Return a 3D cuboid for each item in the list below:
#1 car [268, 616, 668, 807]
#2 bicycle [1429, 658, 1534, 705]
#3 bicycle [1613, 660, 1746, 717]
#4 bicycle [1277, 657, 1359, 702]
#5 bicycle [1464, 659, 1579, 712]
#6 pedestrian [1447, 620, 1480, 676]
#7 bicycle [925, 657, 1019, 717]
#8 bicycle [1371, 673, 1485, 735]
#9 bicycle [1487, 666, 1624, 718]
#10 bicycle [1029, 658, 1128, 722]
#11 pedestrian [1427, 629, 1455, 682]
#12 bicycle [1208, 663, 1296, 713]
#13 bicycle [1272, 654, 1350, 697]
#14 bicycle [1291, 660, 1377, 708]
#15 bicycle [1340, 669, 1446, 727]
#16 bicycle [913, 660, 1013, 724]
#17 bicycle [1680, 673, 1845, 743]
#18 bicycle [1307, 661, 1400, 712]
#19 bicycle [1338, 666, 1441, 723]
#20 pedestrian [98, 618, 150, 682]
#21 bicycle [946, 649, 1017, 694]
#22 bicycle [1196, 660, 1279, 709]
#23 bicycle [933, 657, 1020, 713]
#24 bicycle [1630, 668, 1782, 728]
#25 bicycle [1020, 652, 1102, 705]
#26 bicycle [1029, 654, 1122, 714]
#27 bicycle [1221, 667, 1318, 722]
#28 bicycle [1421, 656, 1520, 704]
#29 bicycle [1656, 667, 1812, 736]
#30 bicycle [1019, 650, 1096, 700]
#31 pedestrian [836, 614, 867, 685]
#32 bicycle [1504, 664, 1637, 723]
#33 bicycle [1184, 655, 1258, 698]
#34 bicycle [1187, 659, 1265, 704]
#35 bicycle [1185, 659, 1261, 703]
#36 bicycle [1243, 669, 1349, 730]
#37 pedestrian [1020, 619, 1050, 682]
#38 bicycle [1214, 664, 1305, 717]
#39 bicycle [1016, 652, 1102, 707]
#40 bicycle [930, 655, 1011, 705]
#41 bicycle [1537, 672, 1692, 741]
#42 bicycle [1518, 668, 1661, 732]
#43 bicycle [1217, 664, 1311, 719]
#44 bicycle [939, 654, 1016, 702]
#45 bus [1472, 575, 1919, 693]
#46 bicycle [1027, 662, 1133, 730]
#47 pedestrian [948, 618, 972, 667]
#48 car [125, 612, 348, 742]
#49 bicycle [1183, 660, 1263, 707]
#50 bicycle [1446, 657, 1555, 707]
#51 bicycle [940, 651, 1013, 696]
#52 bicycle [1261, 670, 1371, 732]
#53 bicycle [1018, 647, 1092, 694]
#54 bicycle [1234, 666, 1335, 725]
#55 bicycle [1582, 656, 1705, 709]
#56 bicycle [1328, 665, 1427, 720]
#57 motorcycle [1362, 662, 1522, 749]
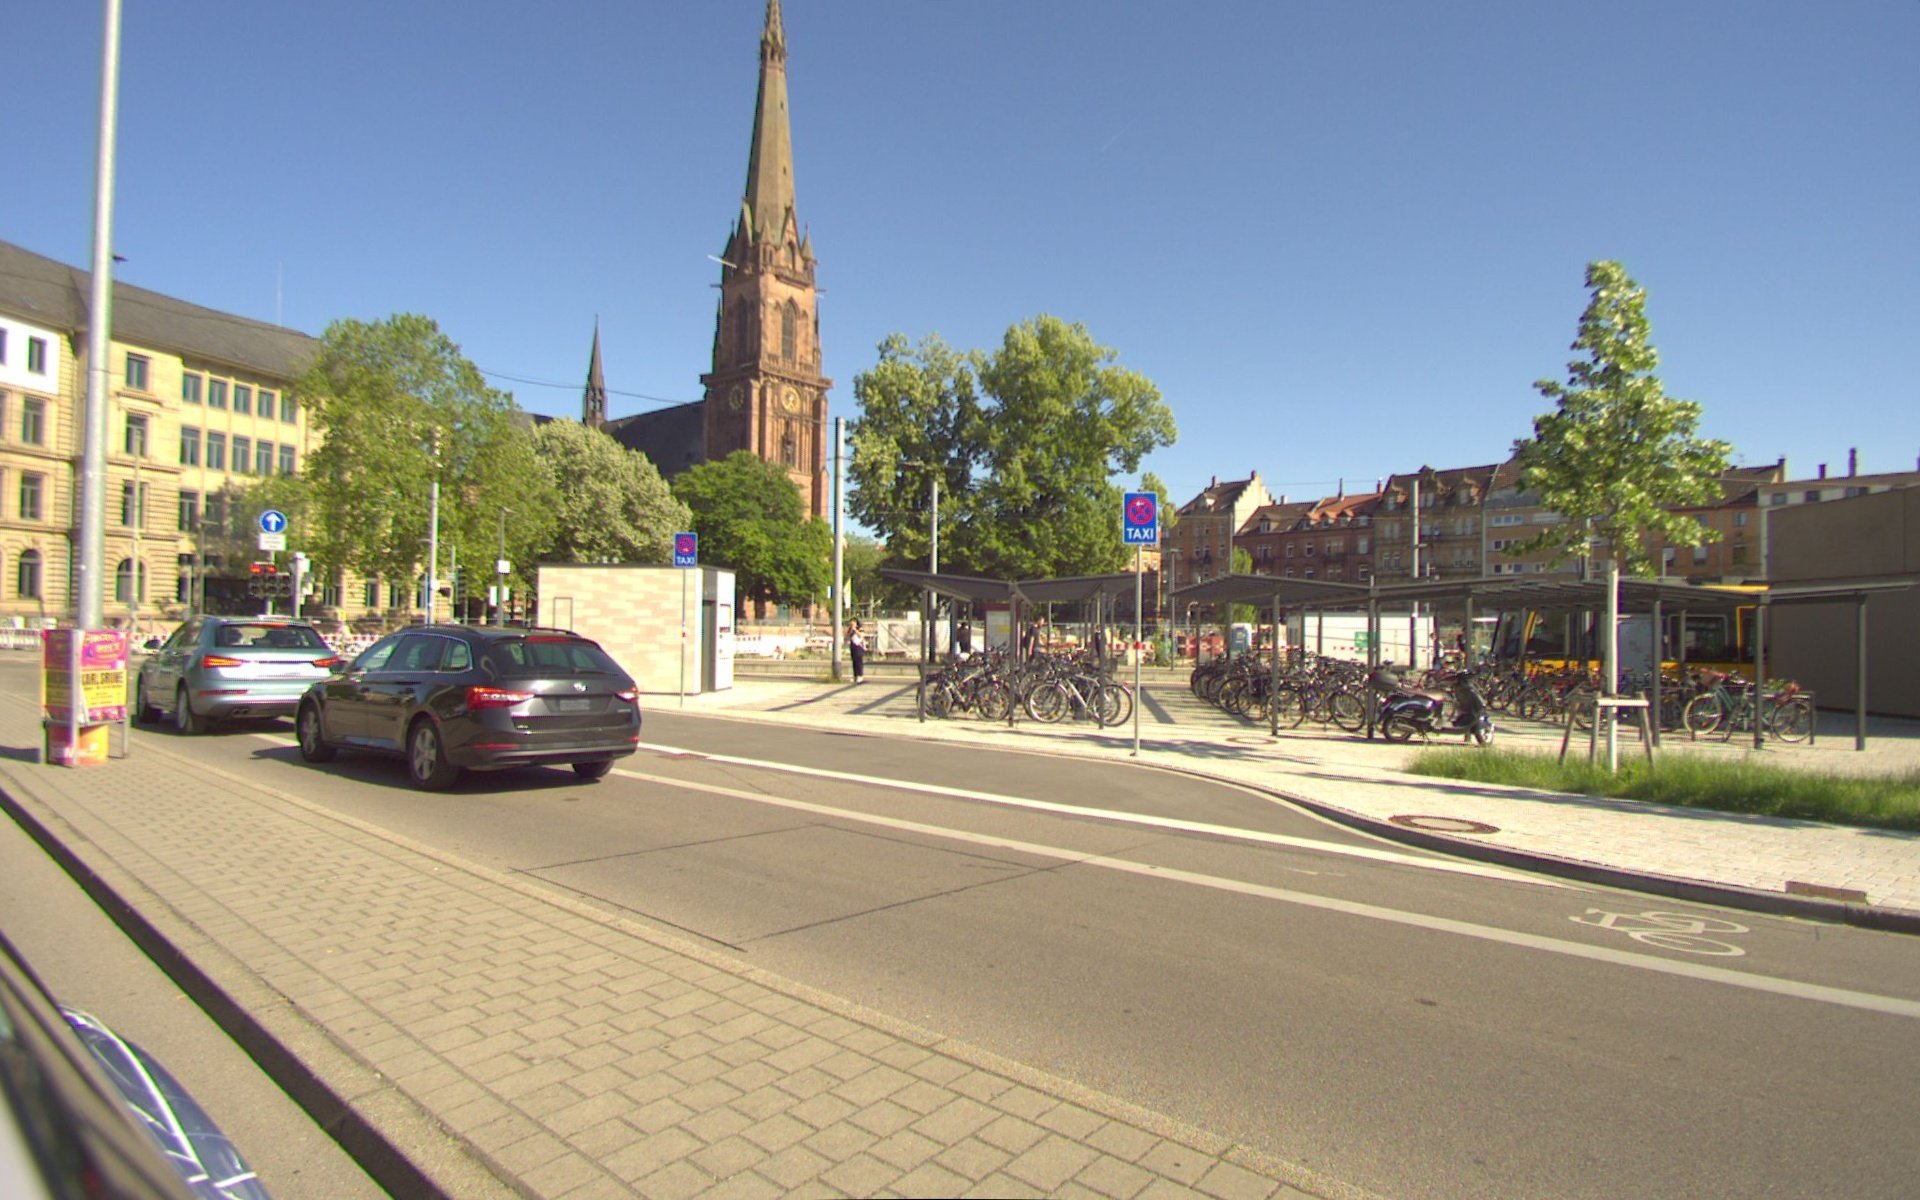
[{"bbox_3d":[-5.157,0.981,10.278,4.780,1.516,1.795,-1,-4,40],"label":"car"},{"bbox_3d":[12.028,1.879,23.373,2.048,1.045,0.533,-1,-4,8],"label":"bicycle"},{"bbox_3d":[13.849,1.699,19.524,2.048,1.045,0.533,-1,0,8],"label":"bicycle"},{"bbox_3d":[8.070,1.788,22.837,1.661,0.980,0.406,-1,0,3],"label":"bicycle"},{"bbox_3d":[11.773,1.795,21.264,2.048,1.045,0.533,-1,2,8],"label":"bicycle"},{"bbox_3d":[17.617,1.669,35.428,0.793,1.931,0.769,0,-2,4],"label":"pedestrian"},{"bbox_3d":[0.228,1.596,18.600,1.663,1.006,0.406,2,0,8],"label":"bicycle"},{"bbox_3d":[7.764,1.723,16.820,1.661,0.980,0.406,-1,0,3],"label":"bicycle"},{"bbox_3d":[11.611,1.798,19.789,2.208,0.951,0.685,-1,0,7],"label":"bicycle"},{"bbox_3d":[2.136,1.616,18.336,1.753,1.083,0.406,1,0,6],"label":"bicycle"},{"bbox_3d":[18.485,2.120,38.920,0.793,2.029,0.535,0,-2,4],"label":"pedestrian"},{"bbox_3d":[5.922,1.784,20.563,1.661,0.980,0.406,1,-5,3],"label":"bicycle"},{"bbox_3d":[8.288,1.785,23.914,1.661,0.980,0.406,-1,0,3],"label":"bicycle"},{"bbox_3d":[7.985,1.789,21.622,1.661,0.980,0.406,-1,0,3],"label":"bicycle"},{"bbox_3d":[7.640,1.724,17.891,1.661,0.980,0.406,-1,0,3],"label":"bicycle"},{"bbox_3d":[0.064,1.573,17.382,1.663,1.006,0.406,2,0,8],"label":"bicycle"},{"bbox_3d":[12.764,1.714,16.137,2.048,1.045,0.533,-1,0,8],"label":"bicycle"},{"bbox_3d":[7.854,1.730,20.228,1.661,0.980,0.406,-1,0,3],"label":"bicycle"},{"bbox_3d":[7.820,1.722,18.459,1.661,0.980,0.406,-1,0,3],"label":"bicycle"},{"bbox_3d":[-22.459,1.329,27.188,0.629,1.680,0.921,-1,-2,35],"label":"pedestrian"},{"bbox_3d":[0.514,1.702,24.186,1.663,1.006,0.406,0,0,8],"label":"bicycle"},{"bbox_3d":[5.922,1.805,21.639,1.661,0.980,0.406,1,-5,3],"label":"bicycle"},{"bbox_3d":[0.325,1.663,19.944,1.663,1.006,0.406,2,0,8],"label":"bicycle"},{"bbox_3d":[13.476,1.763,18.329,2.117,1.005,0.690,-1,0,7],"label":"bicycle"},{"bbox_3d":[2.190,1.694,22.028,1.755,1.083,0.406,1,0,6],"label":"bicycle"},{"bbox_3d":[2.232,1.620,19.582,1.755,1.083,0.406,1,0,6],"label":"bicycle"},{"bbox_3d":[5.725,1.749,18.767,1.661,0.980,0.406,-1,0,3],"label":"bicycle"},{"bbox_3d":[12.297,1.919,24.428,2.048,1.045,0.533,1,3,8],"label":"bicycle"},{"bbox_3d":[12.974,1.696,17.012,2.030,1.087,0.604,-1,0,7],"label":"bicycle"},{"bbox_3d":[2.269,1.731,23.498,1.755,1.083,0.406,1,0,6],"label":"bicycle"},{"bbox_3d":[-2.910,1.326,27.240,0.614,1.874,0.699,0,-2,14],"label":"pedestrian"},{"bbox_3d":[11.319,1.733,18.811,2.048,1.045,0.533,-1,0,8],"label":"bicycle"},{"bbox_3d":[6.253,1.836,24.311,1.661,0.980,0.406,1,-5,3],"label":"bicycle"},{"bbox_3d":[6.050,1.859,23.050,1.661,0.980,0.406,1,-5,3],"label":"bicycle"},{"bbox_3d":[6.134,1.881,23.623,1.661,0.980,0.406,1,-5,3],"label":"bicycle"},{"bbox_3d":[5.790,1.709,17.462,1.661,0.980,0.406,1,0,3],"label":"bicycle"},{"bbox_3d":[2.084,1.402,28.164,0.823,1.740,0.620,0,-2,4],"label":"pedestrian"},{"bbox_3d":[5.898,1.780,19.957,1.661,0.980,0.406,1,0,3],"label":"bicycle"},{"bbox_3d":[2.049,1.642,20.972,1.755,1.083,0.406,1,0,6],"label":"bicycle"},{"bbox_3d":[0.226,1.675,21.403,1.663,1.006,0.406,0,0,8],"label":"bicycle"},{"bbox_3d":[10.569,1.710,16.388,2.048,1.045,0.533,-1,0,8],"label":"bicycle"},{"bbox_3d":[10.947,1.738,17.642,2.048,1.045,0.533,-1,0,8],"label":"bicycle"},{"bbox_3d":[5.811,1.737,19.375,1.661,0.980,0.406,1,0,3],"label":"bicycle"},{"bbox_3d":[0.381,1.705,22.284,1.663,1.006,0.406,0,0,8],"label":"bicycle"},{"bbox_3d":[22.158,0.934,28.622,13.462,3.095,2.859,0,-2,6],"label":"bus"},{"bbox_3d":[2.019,1.605,17.091,1.753,1.083,0.406,1,-3,6],"label":"bicycle"},{"bbox_3d":[-0.008,1.624,39.102,0.610,1.874,0.703,2,-2,-39],"label":"pedestrian"},{"bbox_3d":[-10.481,1.026,14.545,4.258,1.594,1.768,-2,-4,43],"label":"car"},{"bbox_3d":[5.783,1.837,22.295,1.661,0.980,0.406,1,-5,3],"label":"bicycle"},{"bbox_3d":[11.862,1.801,22.255,2.048,1.045,0.533,-1,2,8],"label":"bicycle"},{"bbox_3d":[0.390,1.701,23.661,1.663,1.006,0.406,0,0,8],"label":"bicycle"},{"bbox_3d":[5.930,1.684,16.889,1.661,0.980,0.406,-1,0,3],"label":"bicycle"},{"bbox_3d":[2.311,1.723,24.677,1.755,1.083,0.406,1,0,6],"label":"bicycle"},{"bbox_3d":[5.812,1.709,18.187,1.661,0.980,0.406,1,0,3],"label":"bicycle"},{"bbox_3d":[14.075,1.696,20.876,2.048,1.045,0.533,-1,0,8],"label":"bicycle"},{"bbox_3d":[7.839,1.730,19.012,1.661,0.980,0.406,-1,0,3],"label":"bicycle"},{"bbox_3d":[7.190,1.570,15.159,2.059,1.228,0.569,-1,-2,3],"label":"motorcycle"}]
